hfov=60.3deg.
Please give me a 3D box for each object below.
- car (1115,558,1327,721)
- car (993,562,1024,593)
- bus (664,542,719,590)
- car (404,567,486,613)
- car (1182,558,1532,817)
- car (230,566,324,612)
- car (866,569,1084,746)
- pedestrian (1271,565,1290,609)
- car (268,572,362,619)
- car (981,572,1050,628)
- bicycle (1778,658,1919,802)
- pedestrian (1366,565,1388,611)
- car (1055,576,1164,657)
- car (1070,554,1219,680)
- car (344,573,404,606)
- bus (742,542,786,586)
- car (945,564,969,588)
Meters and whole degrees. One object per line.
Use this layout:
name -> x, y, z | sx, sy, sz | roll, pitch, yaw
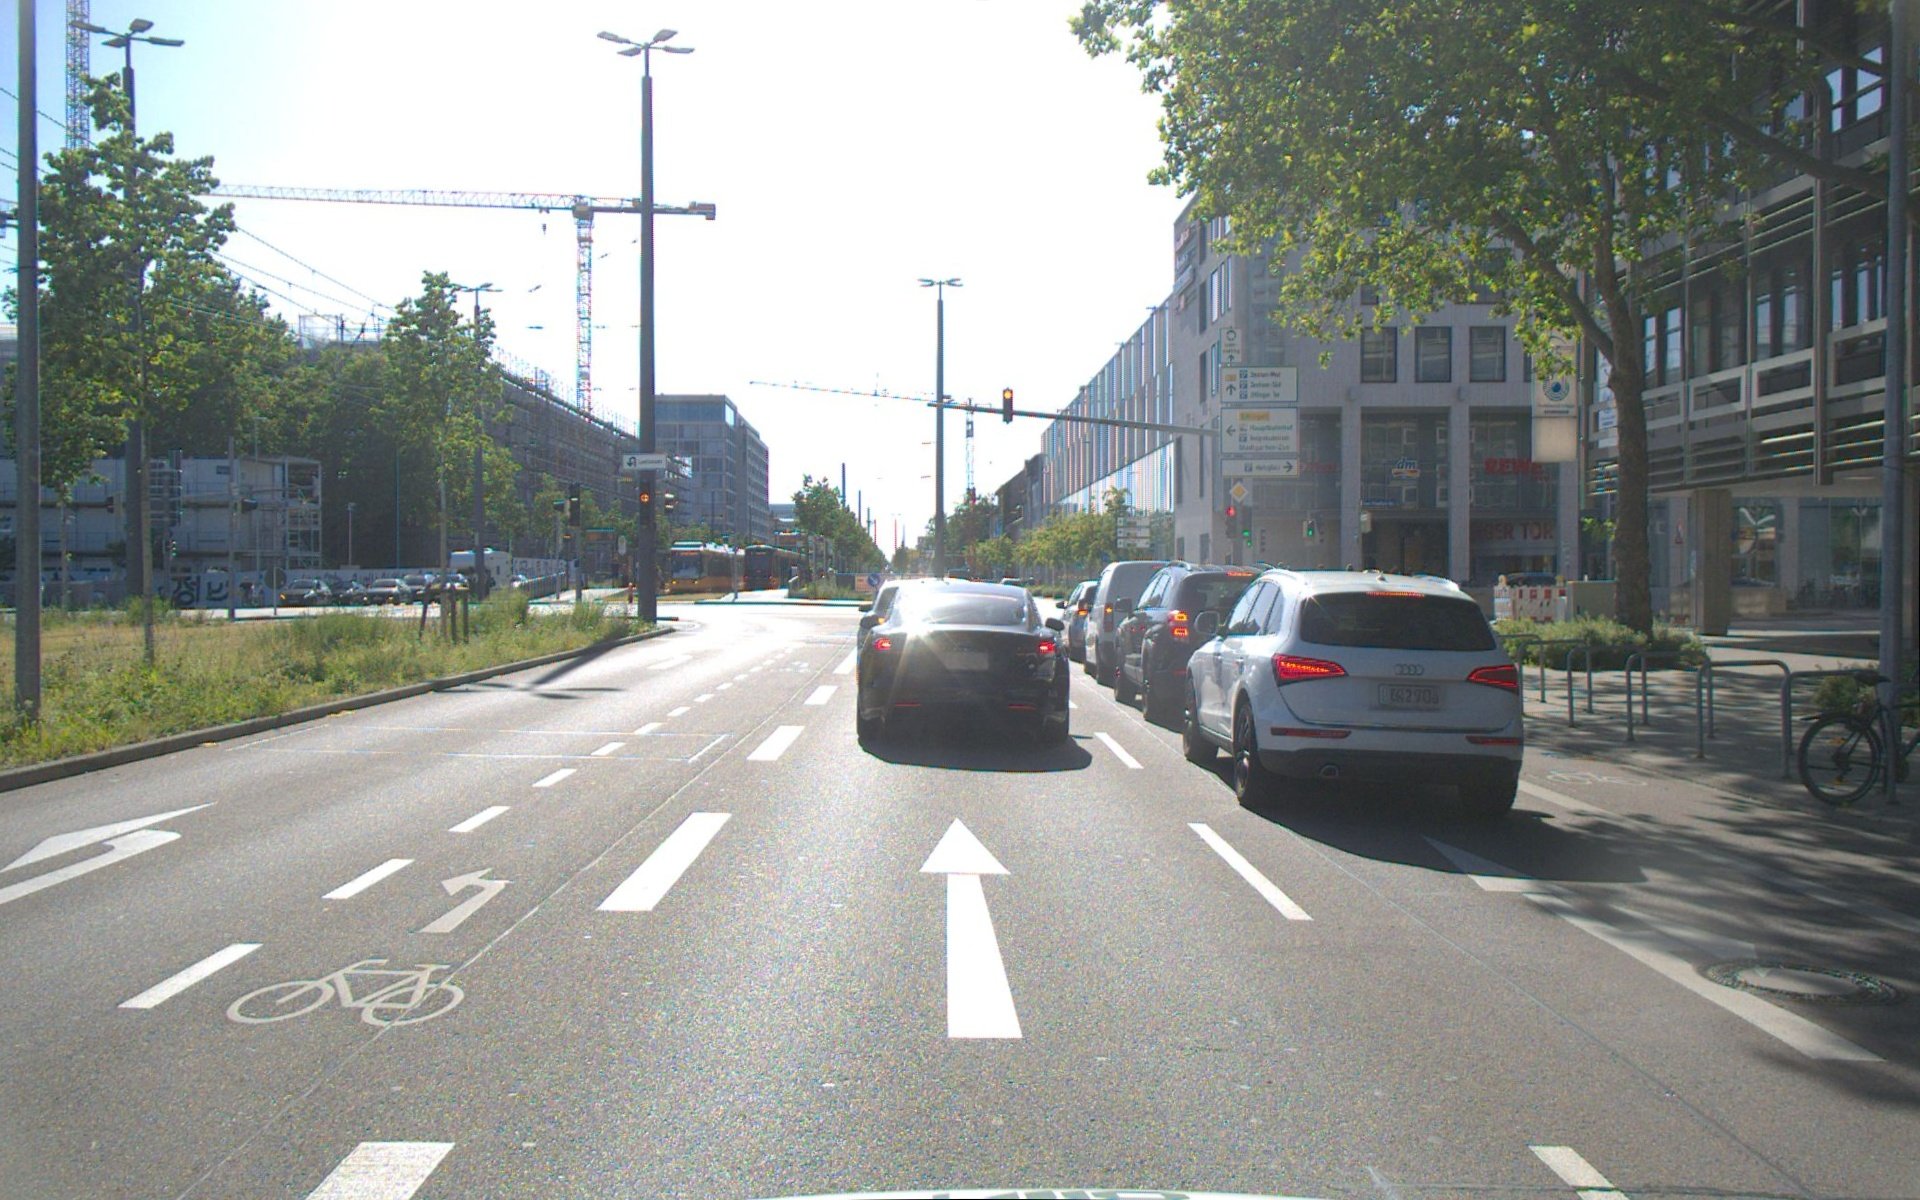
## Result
car -> 2.878, 0.363, 19.090 | 1.687, 1.682, 4.185 | 0, 1, -2
car -> 3.365, -1.554, 115.705 | 1.953, 2.049, 3.999 | 2, 0, -1
bus -> -17.227, -2.122, 106.633 | 2.576, 2.831, 8.838 | 2, 0, -4
car -> -14.493, -0.281, 46.706 | 1.349, 1.199, 3.219 | 2, 0, -2
car -> 2.804, 0.513, 12.609 | 1.686, 1.646, 4.187 | 0, 1, 0
car -> -19.282, -0.301, 46.797 | 1.349, 1.199, 3.219 | 2, 0, -2
car -> 0.064, 0.457, 16.224 | 1.873, 1.512, 4.008 | 0, 1, -2
pedestrian -> 10.927, -0.434, 56.432 | 0.550, 1.466, 0.632 | 2, 0, 6
car -> -17.631, -0.124, 45.314 | 1.349, 1.199, 3.219 | 2, 0, -2
car -> 1.466, -0.036, 45.148 | 1.686, 1.456, 4.186 | 0, 1, -1
bicycle -> 6.942, 0.934, 12.159 | 1.660, 0.974, 0.478 | -2, 1, -6
pedestrian -> 13.477, -0.388, 53.497 | 0.550, 1.466, 0.632 | 2, 0, 6
car -> 2.842, 0.267, 32.208 | 1.686, 1.456, 4.186 | 0, 1, -1
car -> 2.801, 0.205, 25.899 | 1.687, 1.813, 4.184 | 0, 1, -3
car -> -30.637, -0.556, 86.609 | 1.800, 1.641, 3.894 | 2, 0, -2
bus -> -14.588, -2.589, 123.596 | 2.576, 3.011, 9.892 | 2, 0, -4
car -> -0.262, -2.093, 146.041 | 1.953, 2.049, 3.999 | 2, 0, -1
